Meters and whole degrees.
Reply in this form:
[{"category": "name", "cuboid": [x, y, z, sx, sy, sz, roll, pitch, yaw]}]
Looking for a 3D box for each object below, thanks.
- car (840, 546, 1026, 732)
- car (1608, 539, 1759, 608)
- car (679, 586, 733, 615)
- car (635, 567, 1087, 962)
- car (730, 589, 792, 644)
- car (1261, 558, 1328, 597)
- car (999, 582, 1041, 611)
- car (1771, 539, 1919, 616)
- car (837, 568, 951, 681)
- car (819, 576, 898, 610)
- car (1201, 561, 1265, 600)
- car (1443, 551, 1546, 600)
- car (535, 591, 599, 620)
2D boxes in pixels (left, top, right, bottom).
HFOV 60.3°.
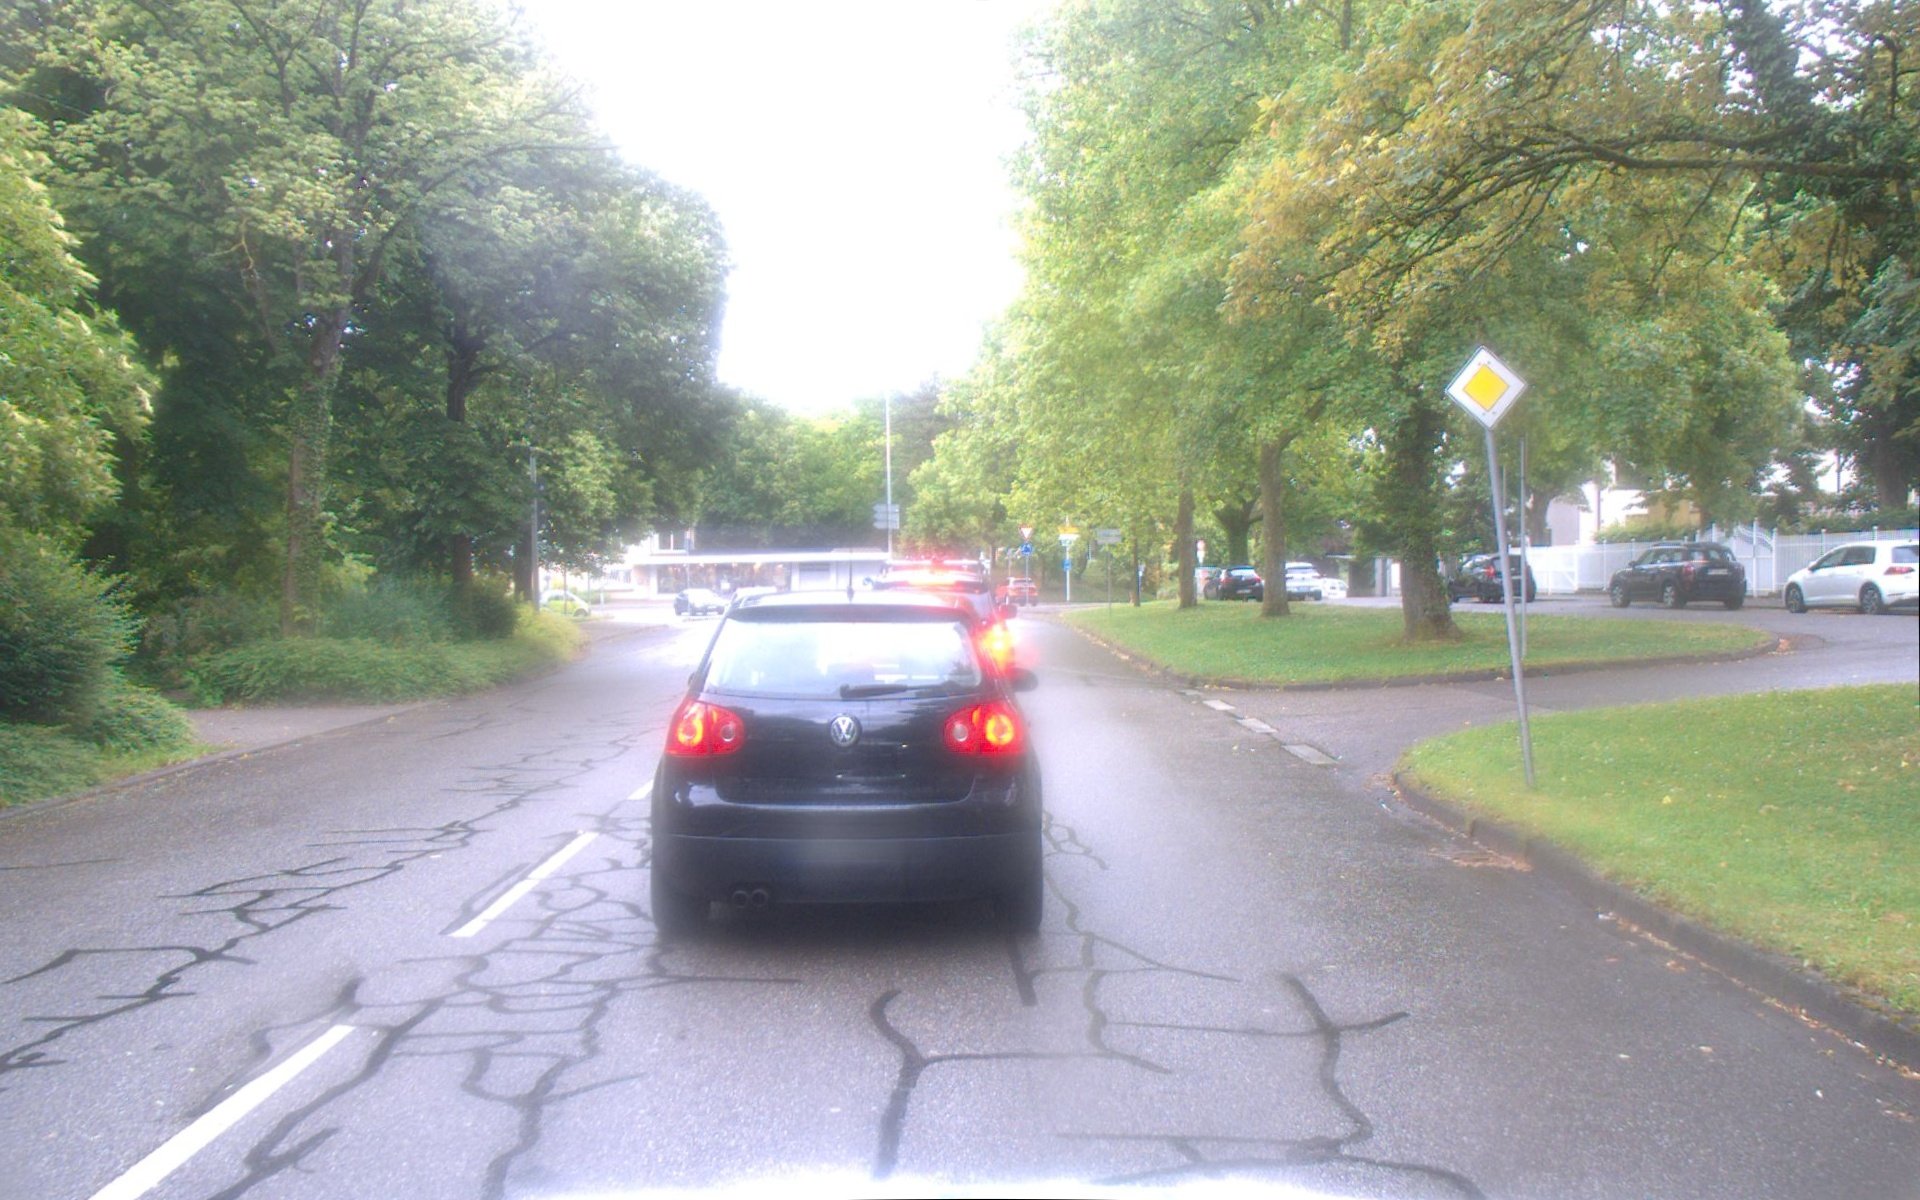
[{"category": "car", "cuboid": [-0.277, 0.385, 18.482, 1.817, 1.816, 4.000, -1, 0, 0]}, {"category": "car", "cuboid": [17.914, -0.673, 41.157, 1.766, 1.556, 4.110, -2, 1, -3]}, {"category": "car", "cuboid": [-13.262, 0.043, 86.236, 1.773, 1.417, 3.950, -3, 1, -23]}, {"category": "car", "cuboid": [-0.391, 0.643, 8.346, 1.762, 1.542, 3.753, 0, 0, 0]}, {"category": "car", "cuboid": [-5.959, 0.464, 49.874, 1.576, 1.452, 4.006, -2, 1, -3]}, {"category": "car", "cuboid": [13.332, -0.908, 66.061, 1.767, 1.430, 4.000, -3, 1, -1]}, {"category": "car", "cuboid": [3.363, -0.207, 93.323, 1.675, 1.539, 3.665, -2, 0, -9]}, {"category": "car", "cuboid": [18.468, -0.487, 33.726, 1.585, 1.434, 4.006, -2, 1, -6]}, {"category": "car", "cuboid": [-1.082, 0.396, 28.943, 1.817, 1.816, 4.000, -1, 0, 0]}, {"category": "car", "cuboid": [-5.071, -0.361, 83.034, 3.711, 1.646, 1.779, 0, 0, 6]}, {"category": "car", "cuboid": [10.841, -0.797, 65.947, 1.767, 1.409, 4.000, -3, 1, -1]}, {"category": "car", "cuboid": [17.151, -0.815, 53.276, 1.766, 1.436, 4.110, -2, 1, -3]}, {"category": "car", "cuboid": [-19.657, 0.271, 82.809, 3.066, 1.333, 1.535, -2, 0, -13]}]
